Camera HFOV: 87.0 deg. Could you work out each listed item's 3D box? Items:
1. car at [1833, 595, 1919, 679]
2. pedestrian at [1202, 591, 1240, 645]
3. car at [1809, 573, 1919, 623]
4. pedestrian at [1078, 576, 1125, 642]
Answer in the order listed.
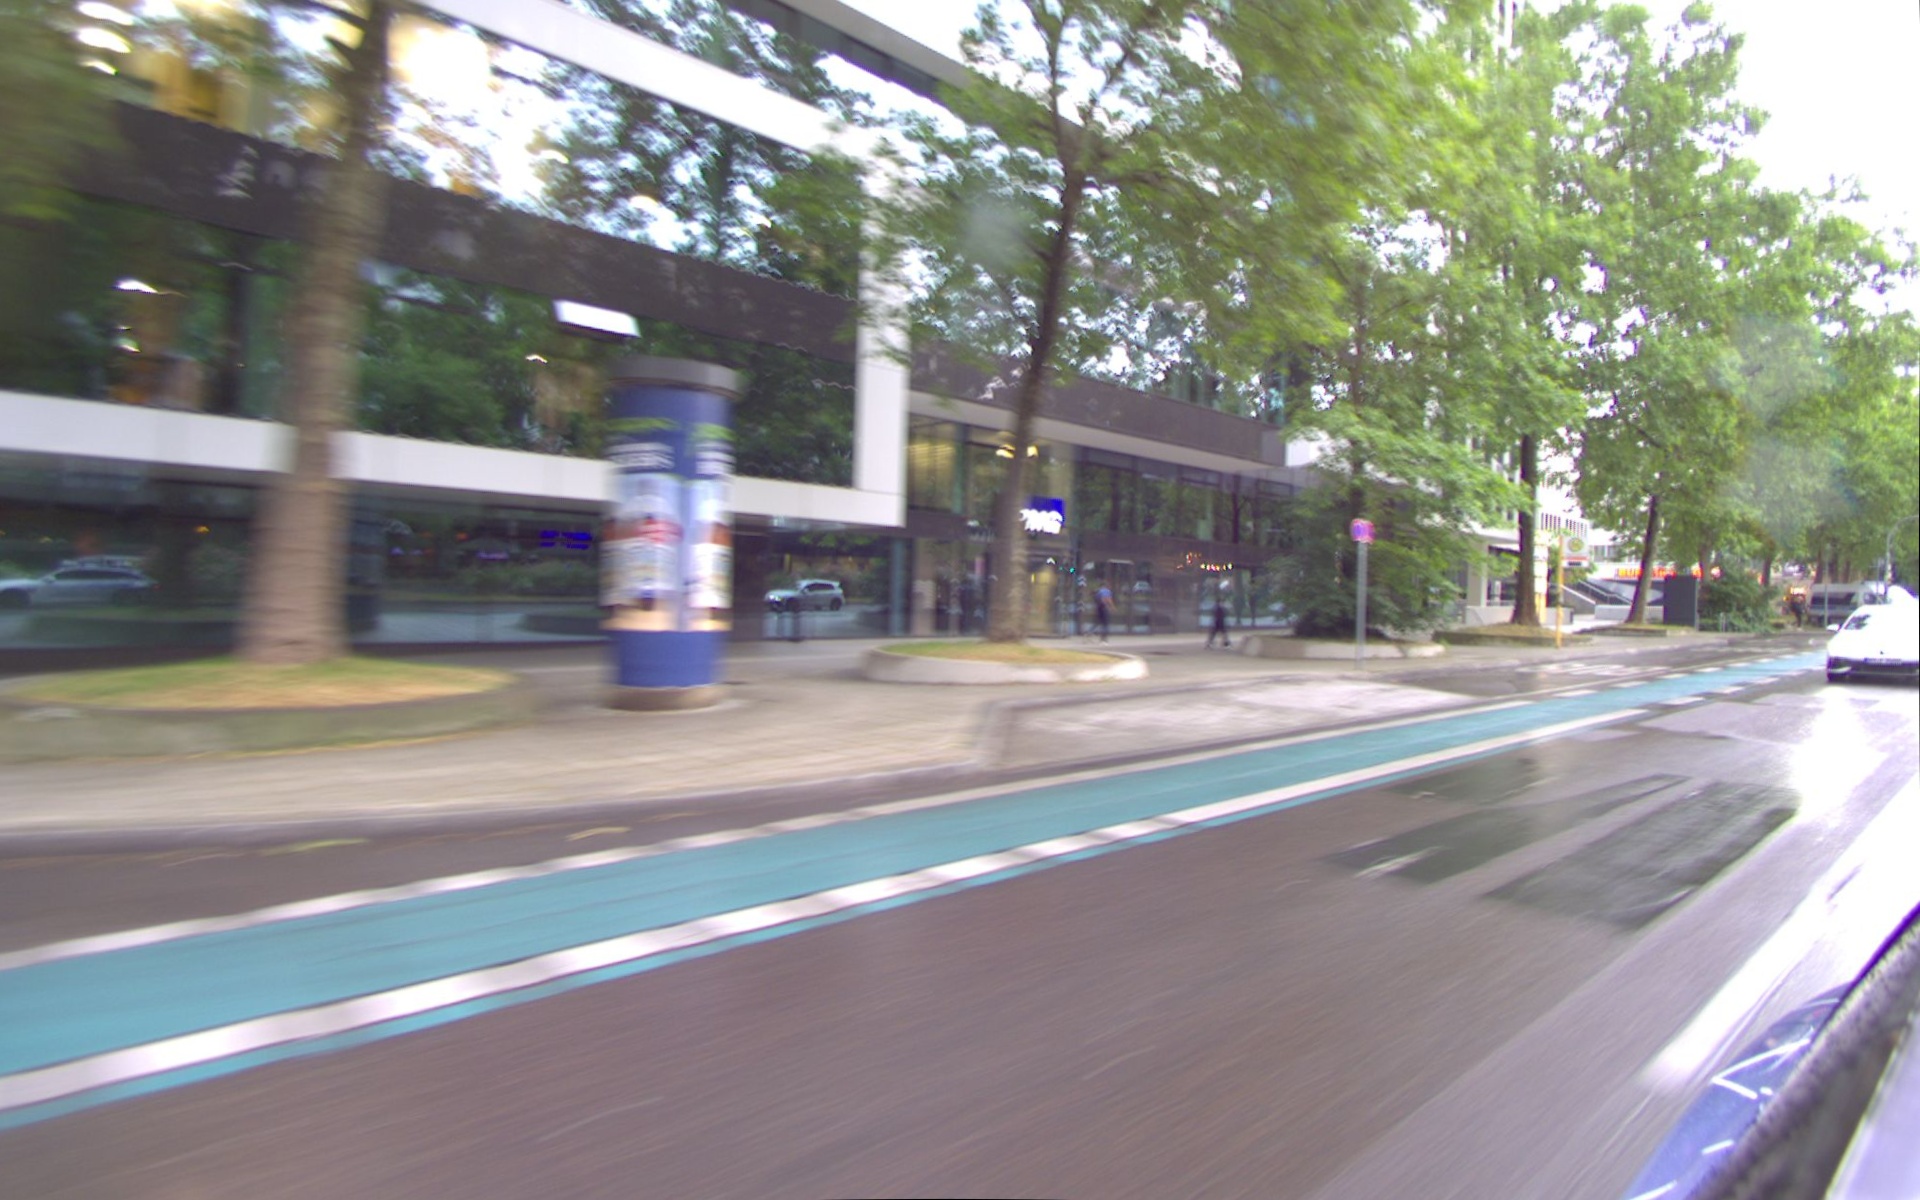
[{"bbox_3d":[18.278,0.659,19.422,3.727,1.490,1.794,0,0,-41],"label":"car"},{"bbox_3d":[7.512,0.510,29.119,0.987,1.524,0.588,0,1,-41],"label":"pedestrian"},{"bbox_3d":[52.409,-0.144,57.710,2.275,2.714,6.292,-1,1,-6],"label":"car"},{"bbox_3d":[4.060,0.257,29.096,0.788,1.816,1.069,4,2,45],"label":"pedestrian"}]
